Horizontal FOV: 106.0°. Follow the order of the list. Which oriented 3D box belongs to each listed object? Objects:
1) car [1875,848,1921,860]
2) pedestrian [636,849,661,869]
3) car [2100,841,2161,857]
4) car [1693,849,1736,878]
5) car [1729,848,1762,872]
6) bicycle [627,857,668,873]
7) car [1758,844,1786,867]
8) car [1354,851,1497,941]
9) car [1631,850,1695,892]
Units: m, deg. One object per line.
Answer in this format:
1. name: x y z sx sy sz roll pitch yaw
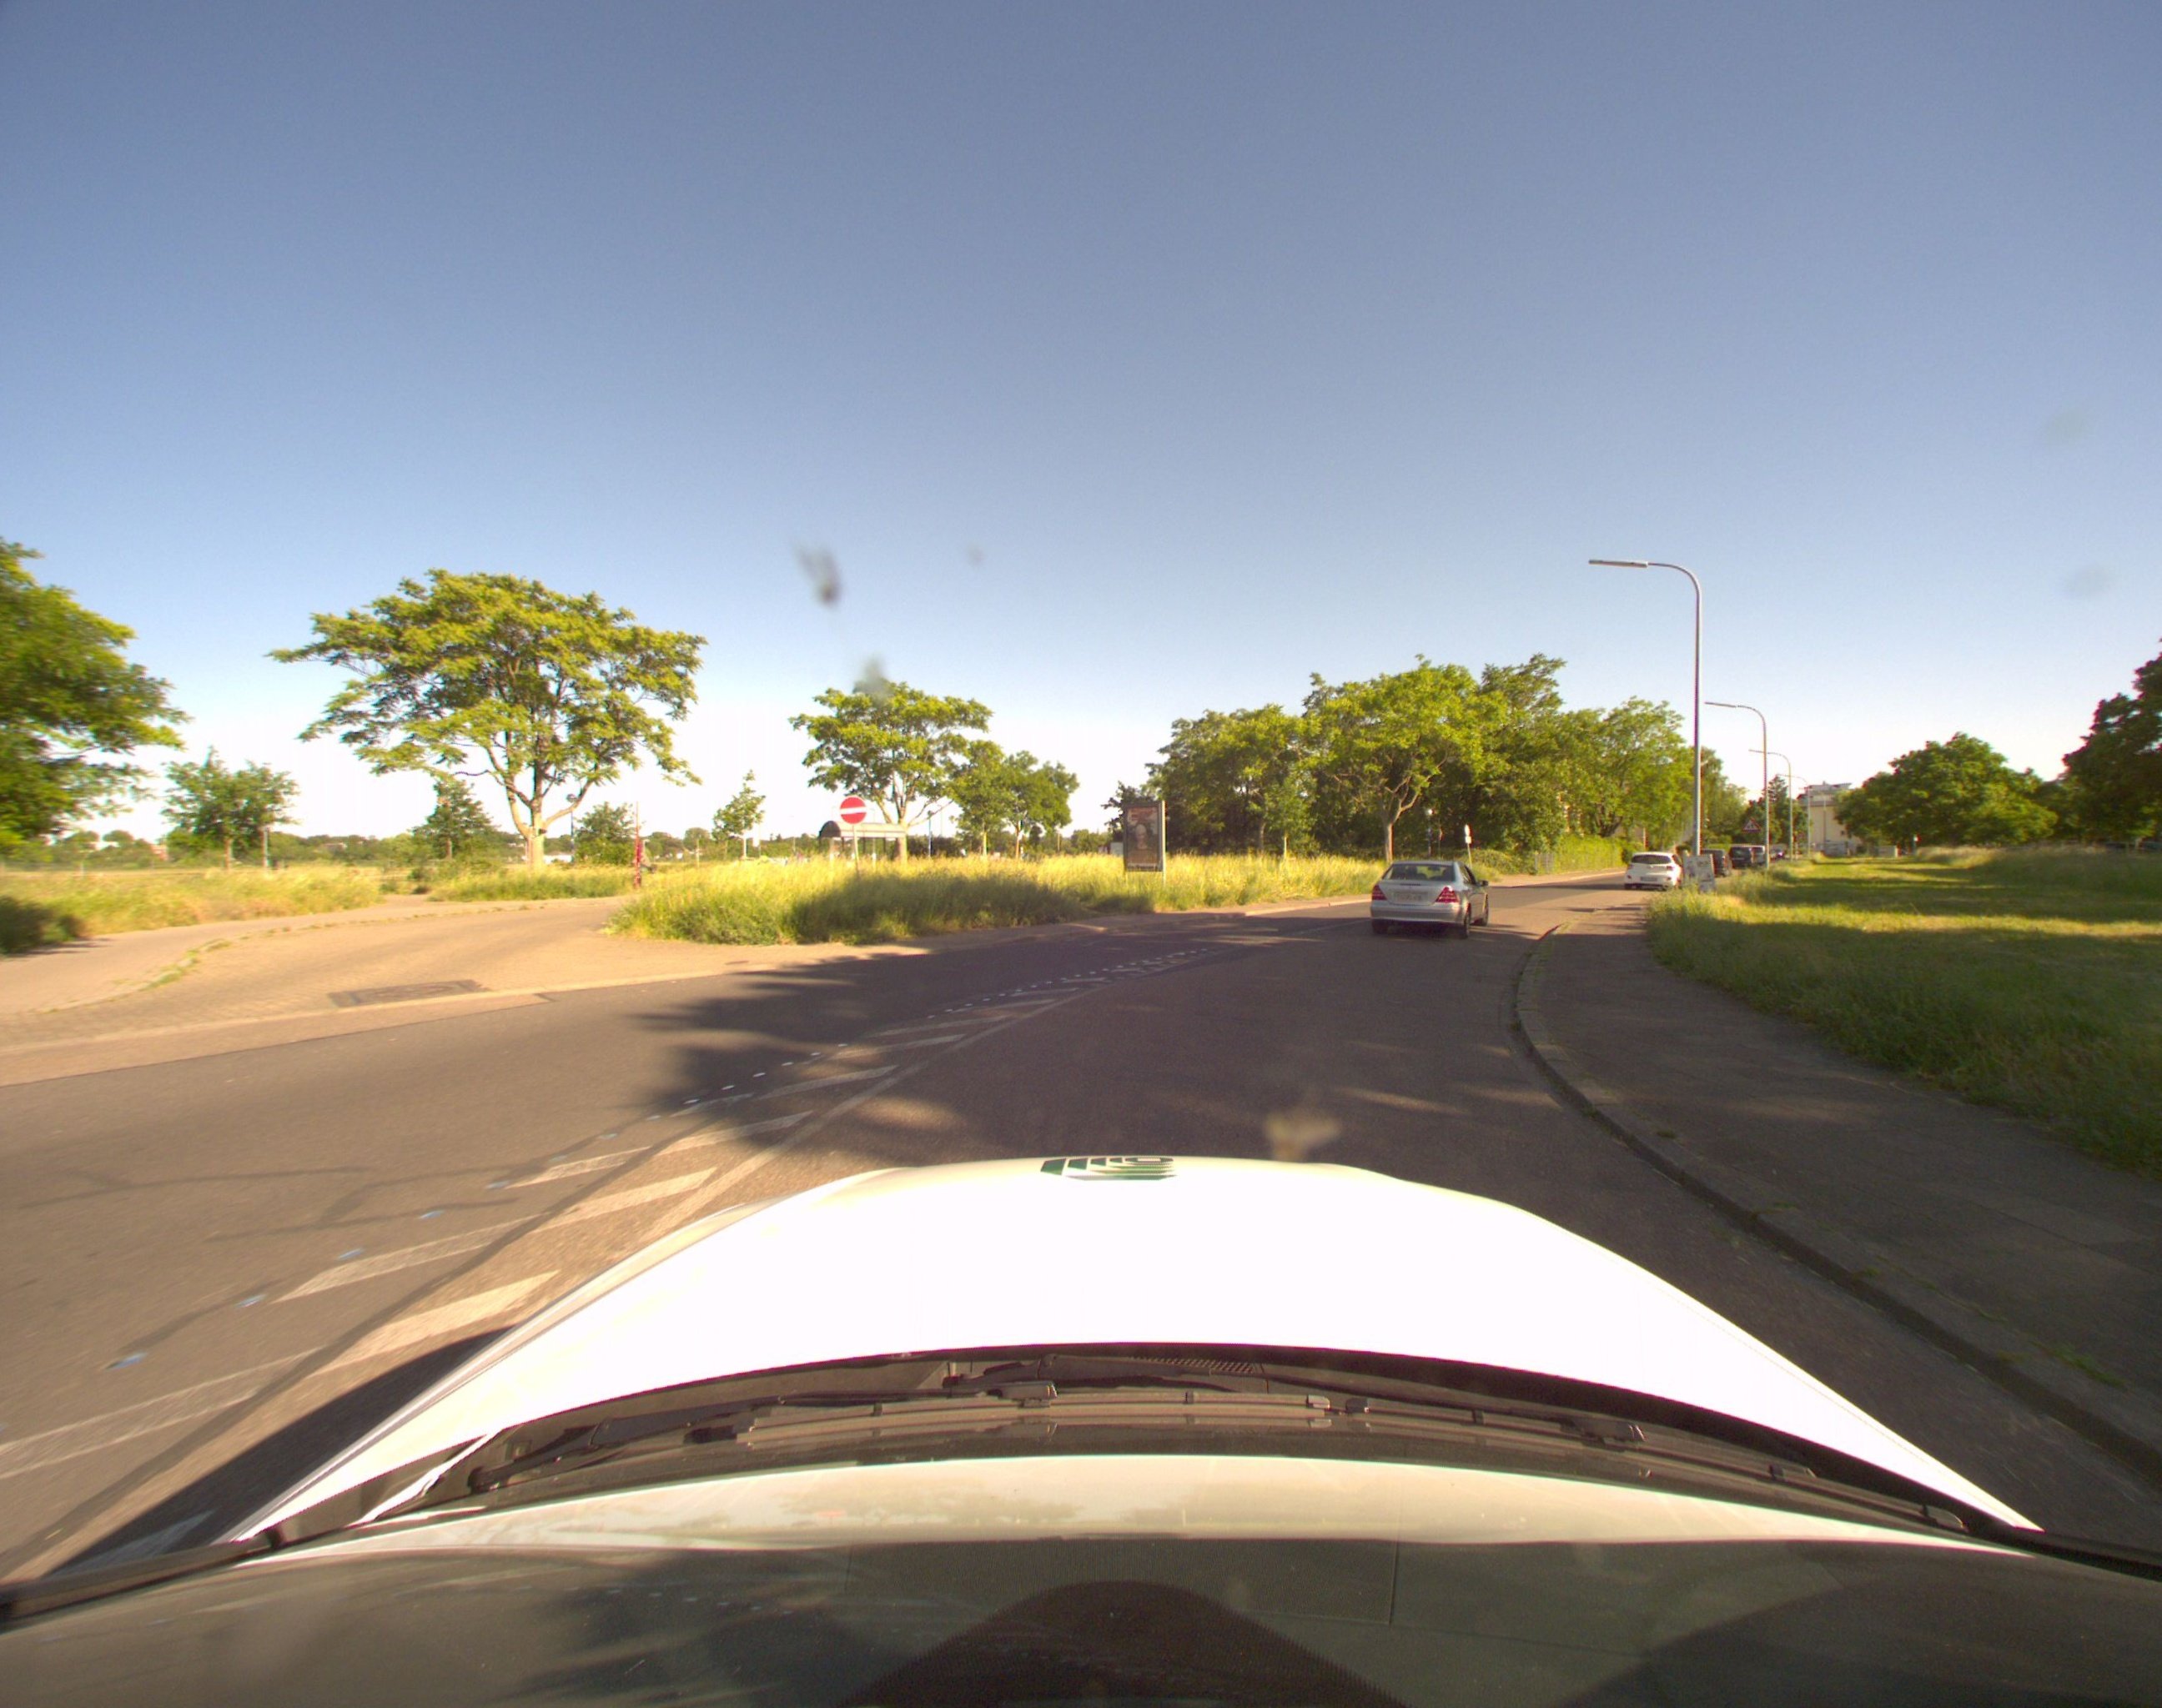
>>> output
1. car: 97.883 0.023 97.605 1.705 1.441 3.678 2 -2 -31
2. pedestrian: -20.339 0.247 38.295 0.694 0.940 0.805 0 0 34
3. car: 108.017 -0.495 83.830 1.705 1.618 3.678 2 -2 -31
4. car: 36.301 0.524 46.625 1.682 1.610 4.025 -2 0 42
5. car: 51.325 0.427 62.897 1.683 1.759 3.874 2 2 42
6. bicycle: -20.349 0.521 38.271 0.646 0.704 1.586 0 -1 34
7. car: 59.269 0.106 69.819 1.683 1.851 3.874 2 2 42
8. car: 6.948 0.707 16.161 1.799 1.463 4.389 1 1 34
9. car: 22.744 0.618 31.787 1.705 1.479 3.764 2 1 40
